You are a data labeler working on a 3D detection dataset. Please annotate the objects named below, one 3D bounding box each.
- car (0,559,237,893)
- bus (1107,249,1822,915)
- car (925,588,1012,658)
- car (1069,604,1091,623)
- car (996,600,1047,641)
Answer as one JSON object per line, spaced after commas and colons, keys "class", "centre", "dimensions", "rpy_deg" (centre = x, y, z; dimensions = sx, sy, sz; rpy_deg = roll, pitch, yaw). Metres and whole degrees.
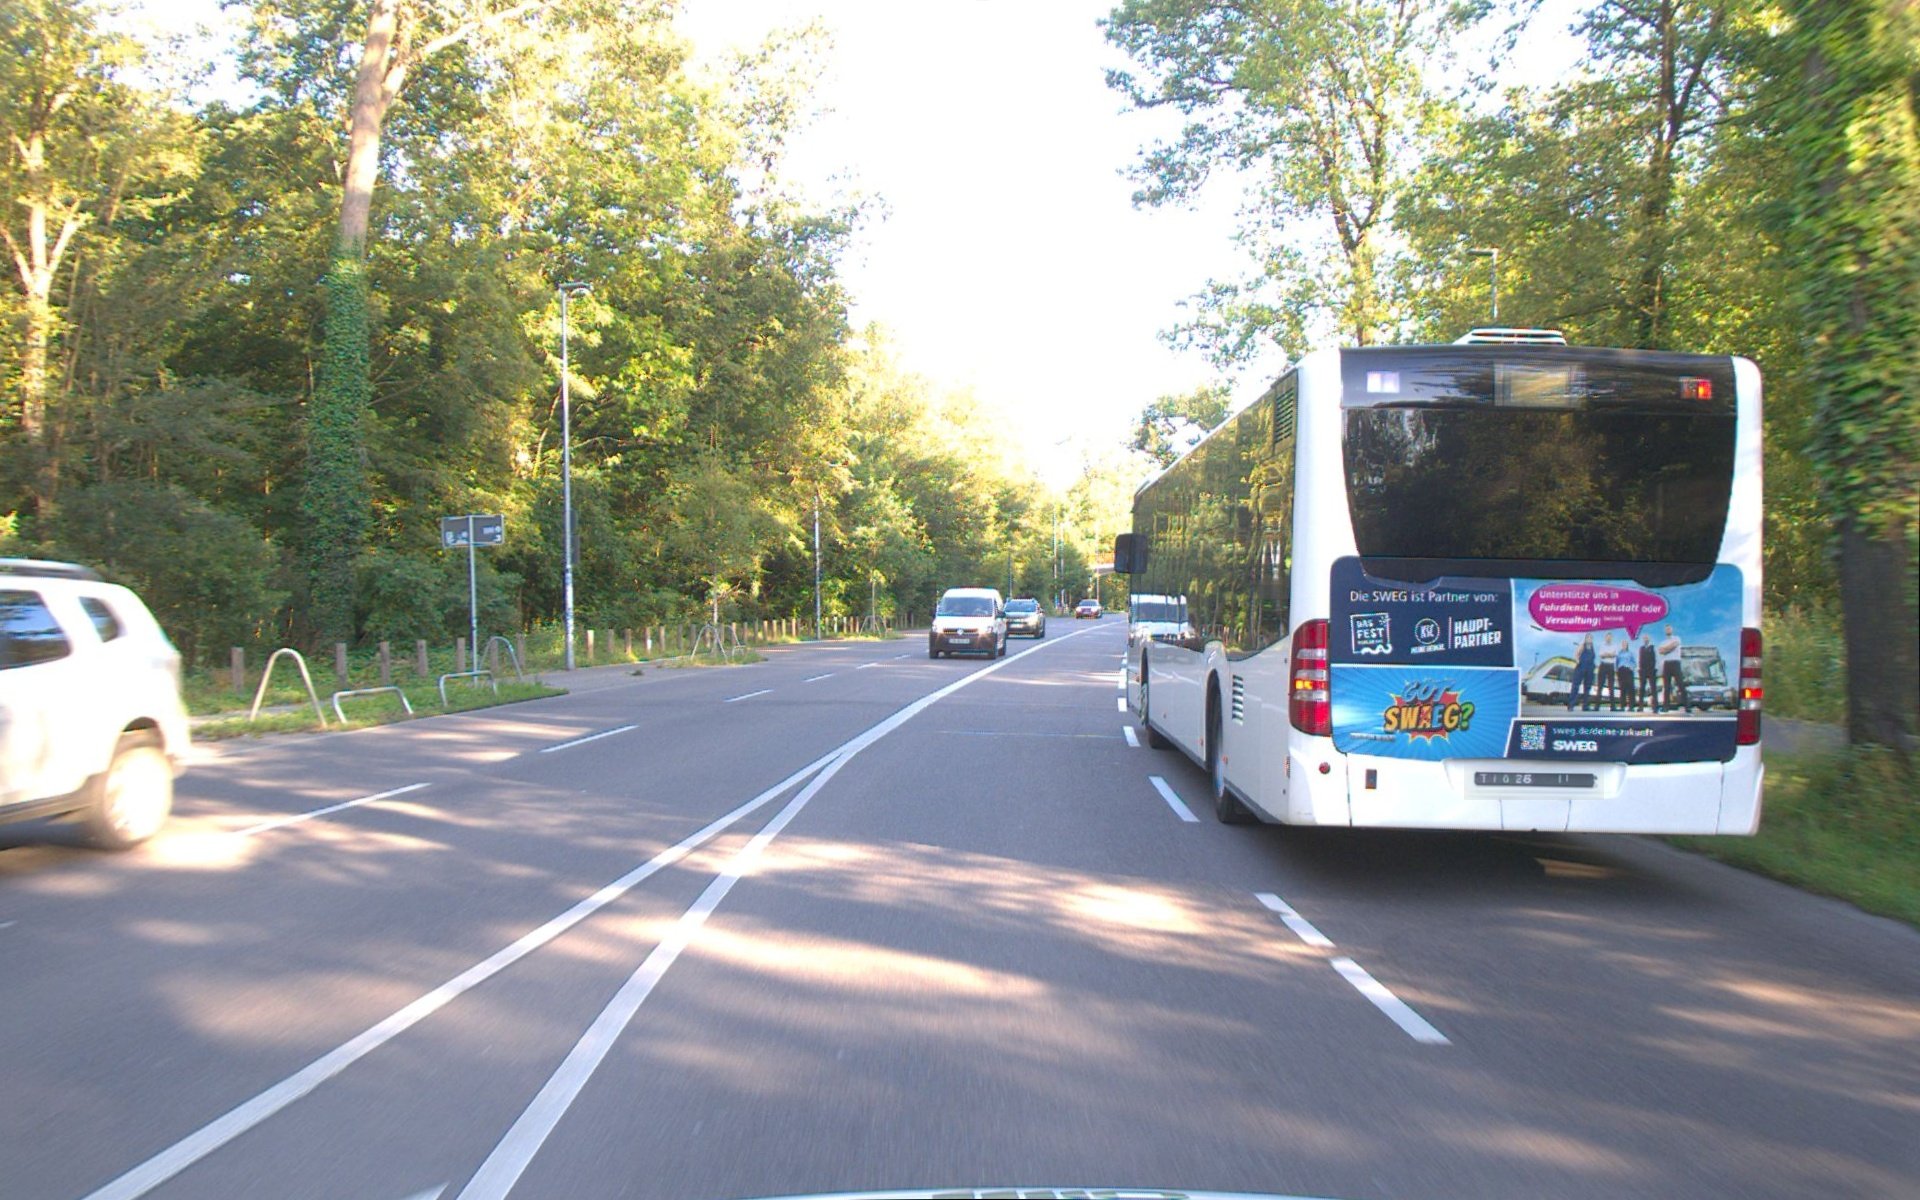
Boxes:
{"class": "car", "centre": [-5.823, 0.638, 8.574], "dimensions": [1.951, 1.688, 4.451], "rpy_deg": [0, 0, 4]}
{"class": "bus", "centre": [3.067, -0.051, 14.388], "dimensions": [2.648, 3.278, 12.280], "rpy_deg": [1, 0, 1]}
{"class": "car", "centre": [0.293, 0.584, 44.193], "dimensions": [1.865, 1.787, 4.803], "rpy_deg": [0, 0, 6]}
{"class": "car", "centre": [9.789, 1.066, 134.791], "dimensions": [1.785, 1.488, 4.927], "rpy_deg": [0, 0, 4]}
{"class": "car", "centre": [2.505, 0.804, 66.357], "dimensions": [1.767, 1.572, 4.092], "rpy_deg": [-1, 0, 6]}
